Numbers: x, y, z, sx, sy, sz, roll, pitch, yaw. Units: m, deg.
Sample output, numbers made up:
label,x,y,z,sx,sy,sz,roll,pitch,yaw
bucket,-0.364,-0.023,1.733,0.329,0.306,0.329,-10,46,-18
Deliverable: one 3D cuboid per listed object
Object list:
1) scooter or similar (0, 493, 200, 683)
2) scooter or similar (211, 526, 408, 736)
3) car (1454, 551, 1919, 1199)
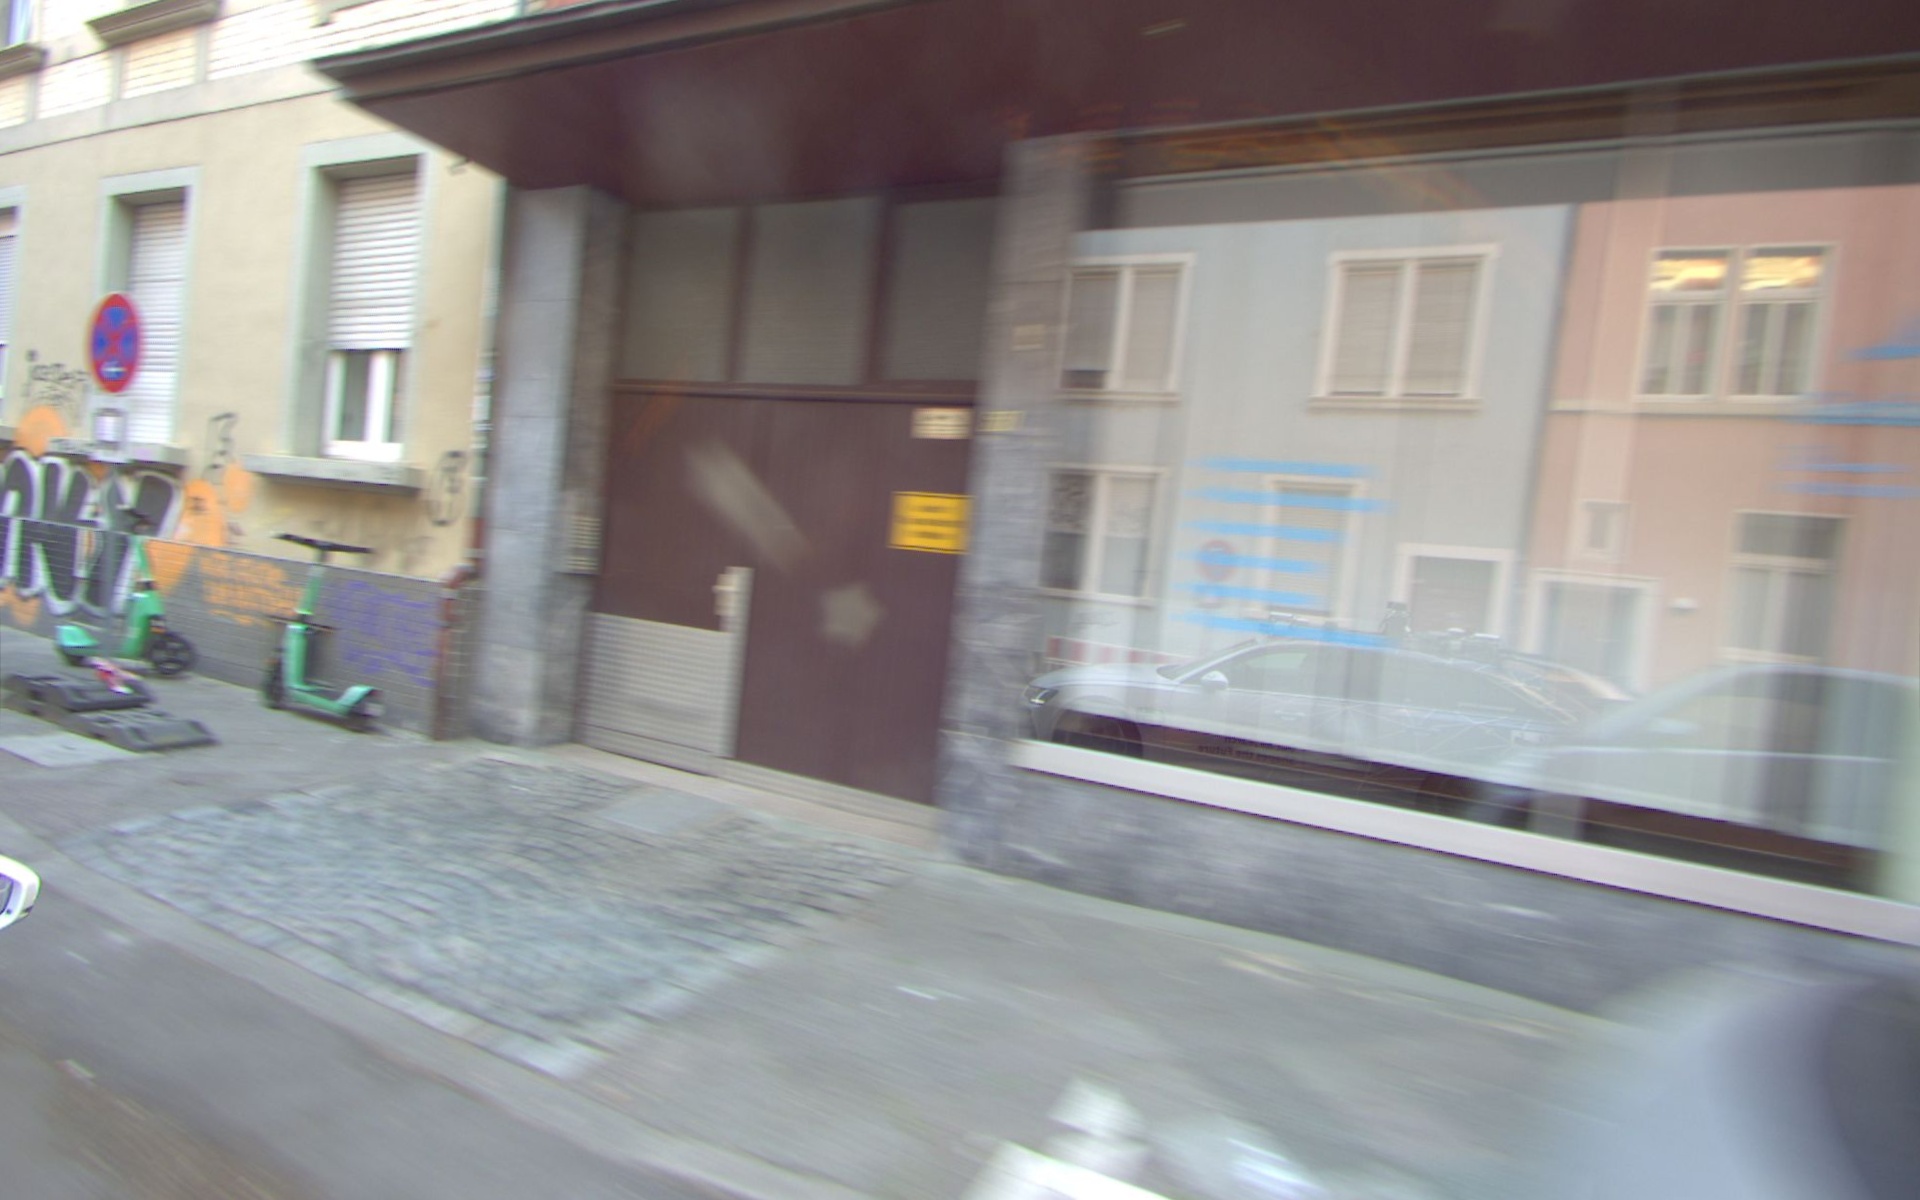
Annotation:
label,x,y,z,sx,sy,sz,roll,pitch,yaw
scooter or similar,-6.344,-0.110,7.368,1.417,1.227,0.455,6,6,14
scooter or similar,-4.210,0.161,6.484,1.418,1.160,0.388,7,6,26
car,2.243,0.911,0.597,3.402,1.558,1.520,7,7,27
